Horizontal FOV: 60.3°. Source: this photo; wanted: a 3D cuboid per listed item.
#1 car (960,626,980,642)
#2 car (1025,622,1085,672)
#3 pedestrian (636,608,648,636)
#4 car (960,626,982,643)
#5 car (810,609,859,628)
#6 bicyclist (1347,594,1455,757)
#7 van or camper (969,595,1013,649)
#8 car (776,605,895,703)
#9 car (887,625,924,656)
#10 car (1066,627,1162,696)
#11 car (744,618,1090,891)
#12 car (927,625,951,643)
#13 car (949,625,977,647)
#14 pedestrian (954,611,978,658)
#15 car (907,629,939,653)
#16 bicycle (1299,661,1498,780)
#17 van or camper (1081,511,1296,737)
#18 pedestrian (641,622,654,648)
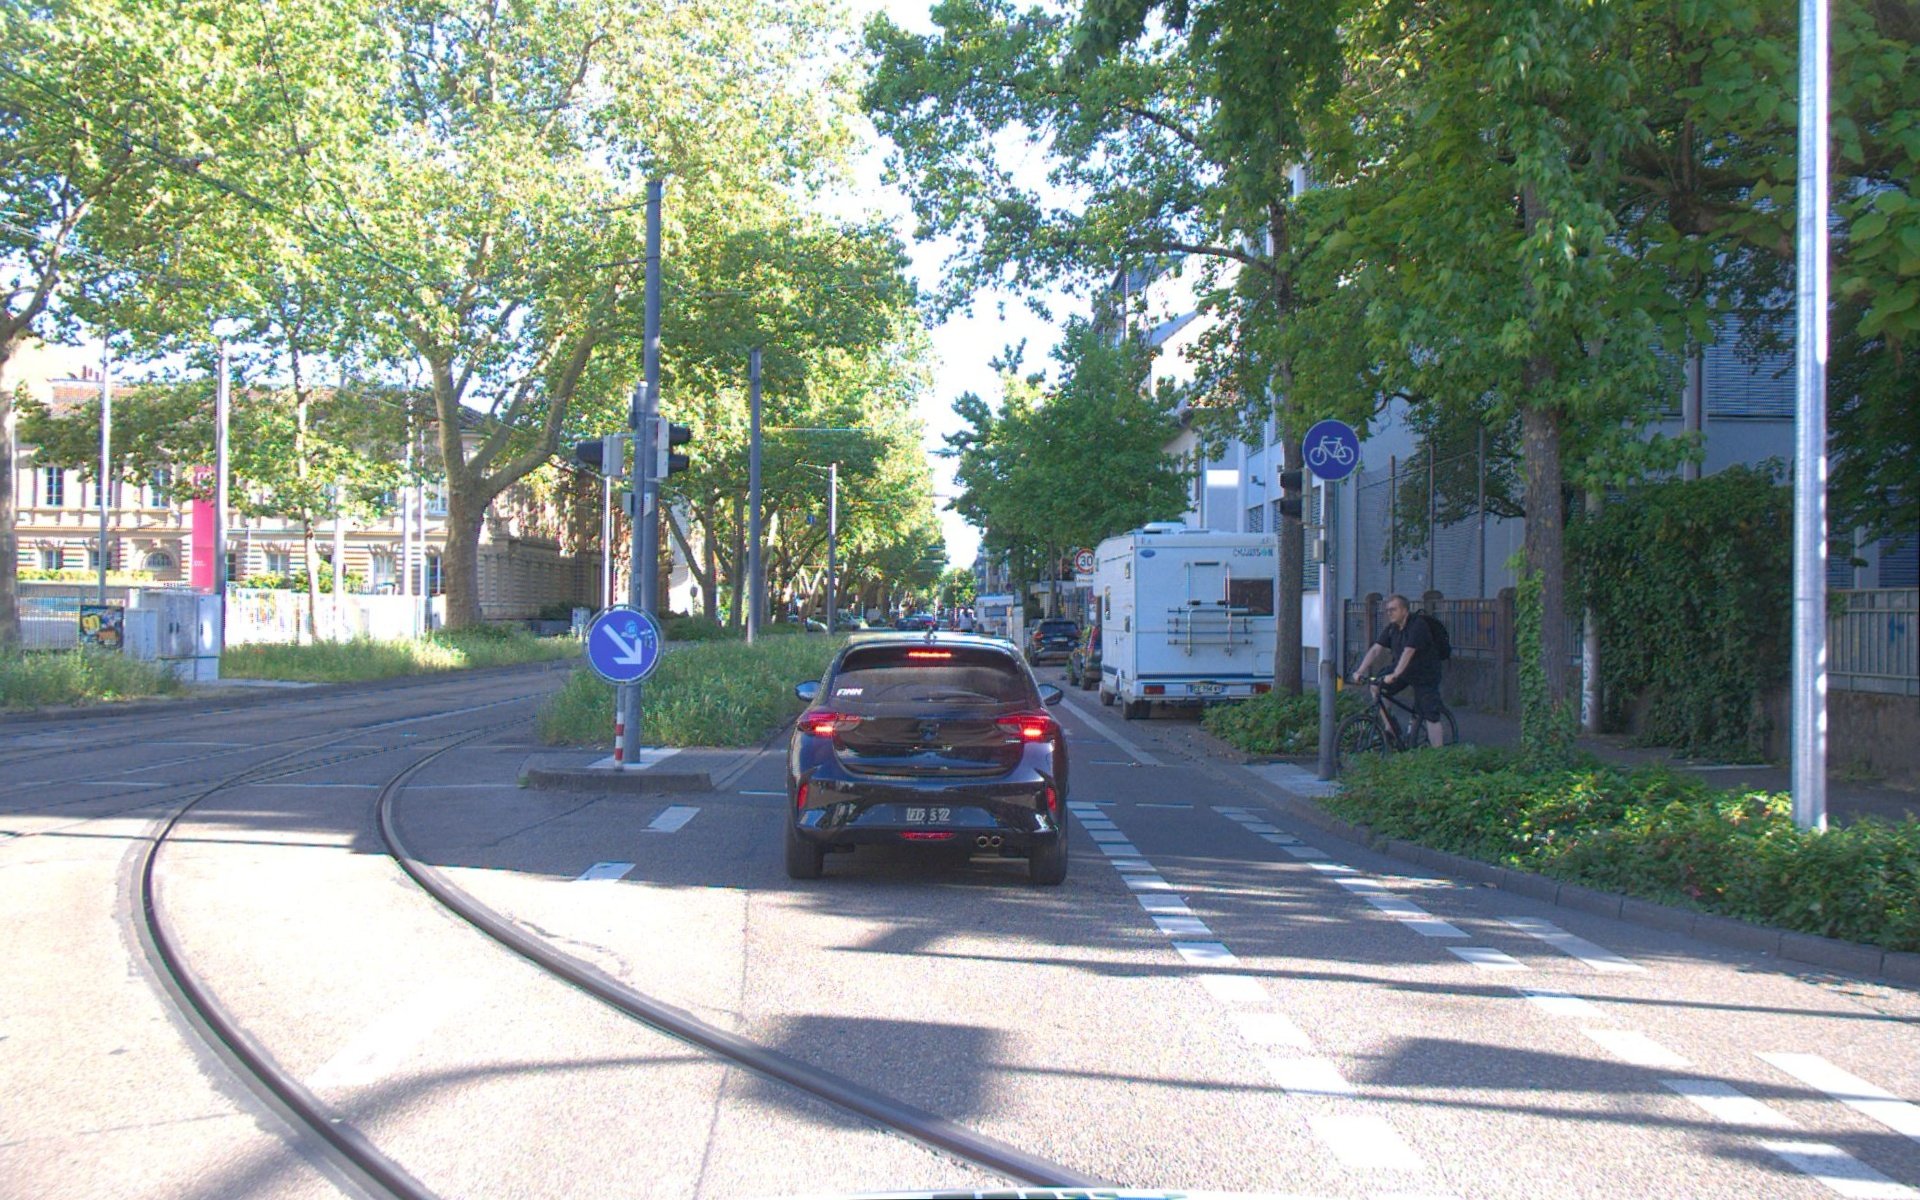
[{"bbox_3d":[0.983,3.234,158.560,1.866,1.450,4.215,1,-1,1],"label":"car"},{"bbox_3d":[3.104,1.519,54.463,1.753,1.537,3.873,-1,-1,0],"label":"car"},{"bbox_3d":[-20.374,1.404,106.013,0.605,1.764,0.596,3,-1,-1],"label":"pedestrian"},{"bbox_3d":[0.971,3.080,147.438,1.866,1.450,4.215,1,-1,1],"label":"car"},{"bbox_3d":[-14.889,2.198,196.671,5.571,2.236,2.289,1,-1,0],"label":"car"},{"bbox_3d":[4.290,0.718,16.105,0.691,1.536,0.745,1,-1,-25],"label":"bicyclist"},{"bbox_3d":[1.890,1.354,101.188,2.435,3.046,5.434,3,-1,1],"label":"van or camper"},{"bbox_3d":[-2.315,0.995,31.897,1.953,1.656,4.469,3,-1,-1],"label":"car"},{"bbox_3d":[-2.840,2.110,86.797,1.753,1.537,3.873,-1,-1,0],"label":"car"},{"bbox_3d":[3.440,1.354,37.521,1.652,1.445,4.046,0,-1,-2],"label":"car"},{"bbox_3d":[-0.201,0.867,11.152,1.866,1.450,4.215,1,-1,1],"label":"car"},{"bbox_3d":[-1.802,2.868,141.626,1.866,1.450,4.215,1,-1,1],"label":"car"},{"bbox_3d":[0.242,2.504,115.907,1.866,1.450,4.215,1,-1,1],"label":"car"},{"bbox_3d":[0.278,1.537,73.933,1.015,2.060,1.212,1,-1,-1],"label":"pedestrian"},{"bbox_3d":[-2.353,2.613,106.522,1.866,1.450,4.215,1,-1,1],"label":"car"},{"bbox_3d":[4.272,1.147,16.094,1.920,1.089,0.636,1,-1,-25],"label":"bicycle"},{"bbox_3d":[3.577,0.393,27.675,2.327,3.180,7.548,-2,-1,-1],"label":"van or camper"},{"bbox_3d":[-20.049,2.237,106.144,0.645,1.650,0.615,3,-1,-1],"label":"pedestrian"}]
